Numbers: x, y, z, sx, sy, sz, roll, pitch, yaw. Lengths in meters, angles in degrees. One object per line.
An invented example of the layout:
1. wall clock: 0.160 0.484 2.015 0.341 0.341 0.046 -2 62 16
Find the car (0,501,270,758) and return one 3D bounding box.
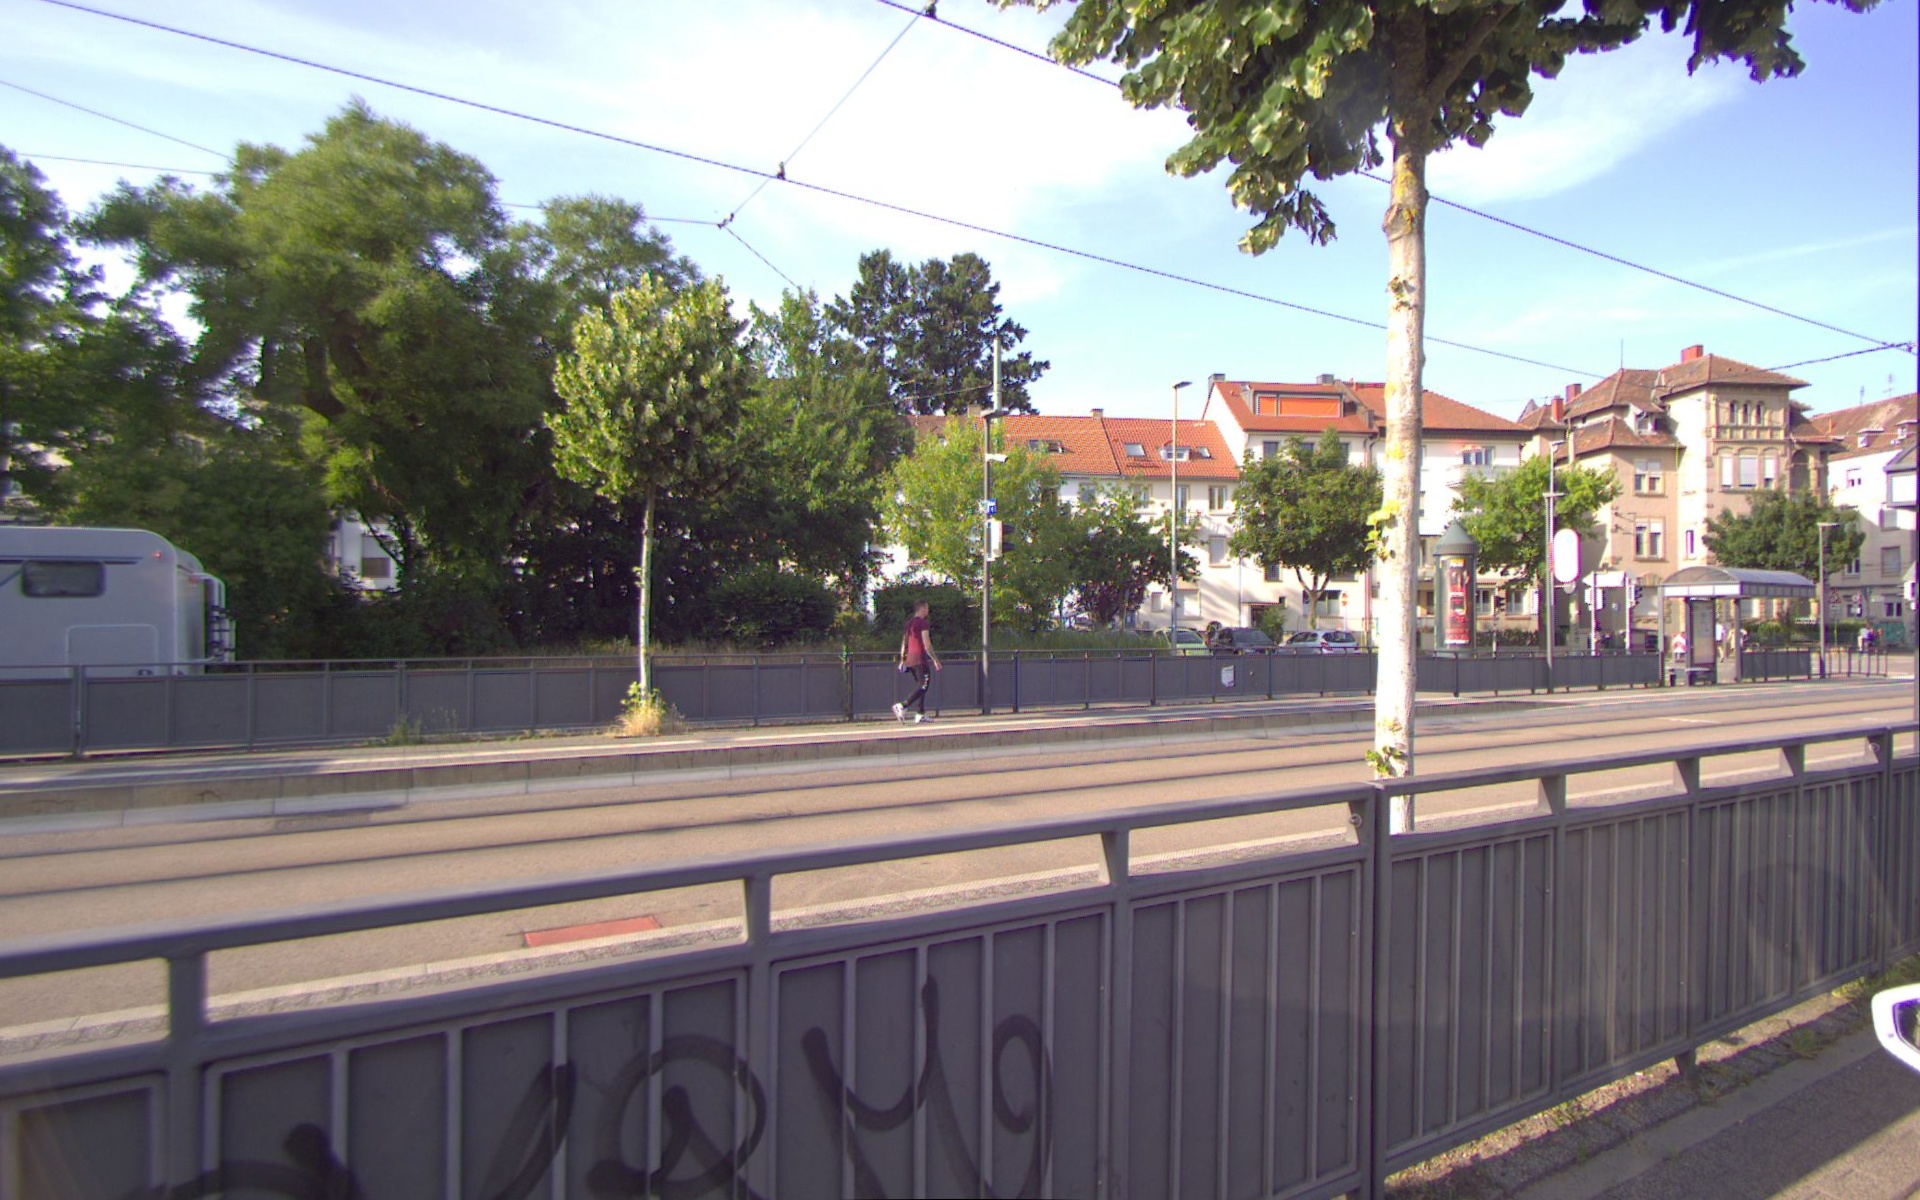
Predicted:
1. car: -12.318 0.316 11.209 7.380 2.771 2.584 0 -1 -30

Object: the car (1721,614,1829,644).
1. car: 46.577 1.662 57.461 4.628 1.649 2.209 0 0 -7

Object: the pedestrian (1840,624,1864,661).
1. pedestrian: 43.366 2.038 48.826 0.736 1.776 0.663 0 0 -26

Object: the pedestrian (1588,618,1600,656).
1. pedestrian: 33.795 1.974 53.512 0.400 2.040 0.382 0 0 -11

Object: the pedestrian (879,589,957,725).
1. pedestrian: -0.569 0.747 13.537 0.763 1.756 0.832 0 -1 -29

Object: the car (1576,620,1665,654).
1. car: 37.285 2.054 56.813 1.965 1.773 3.991 0 -1 -12

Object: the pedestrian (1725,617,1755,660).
1. pedestrian: 32.993 1.616 42.491 0.740 1.776 0.879 0 0 -40

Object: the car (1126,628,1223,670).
1. car: 7.965 1.796 37.623 1.967 1.416 3.987 0 -1 -15

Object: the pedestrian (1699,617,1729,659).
1. pedestrian: 32.418 1.636 43.193 0.740 1.776 0.879 0 0 -40

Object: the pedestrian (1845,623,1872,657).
1. pedestrian: 48.657 2.164 54.378 0.736 1.776 0.883 0 0 -26

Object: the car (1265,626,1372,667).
1. car: 13.575 1.718 38.286 1.967 1.416 3.988 0 -1 -15

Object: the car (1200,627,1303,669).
1. car: 10.842 1.759 37.689 1.966 1.416 3.988 0 -1 -15
